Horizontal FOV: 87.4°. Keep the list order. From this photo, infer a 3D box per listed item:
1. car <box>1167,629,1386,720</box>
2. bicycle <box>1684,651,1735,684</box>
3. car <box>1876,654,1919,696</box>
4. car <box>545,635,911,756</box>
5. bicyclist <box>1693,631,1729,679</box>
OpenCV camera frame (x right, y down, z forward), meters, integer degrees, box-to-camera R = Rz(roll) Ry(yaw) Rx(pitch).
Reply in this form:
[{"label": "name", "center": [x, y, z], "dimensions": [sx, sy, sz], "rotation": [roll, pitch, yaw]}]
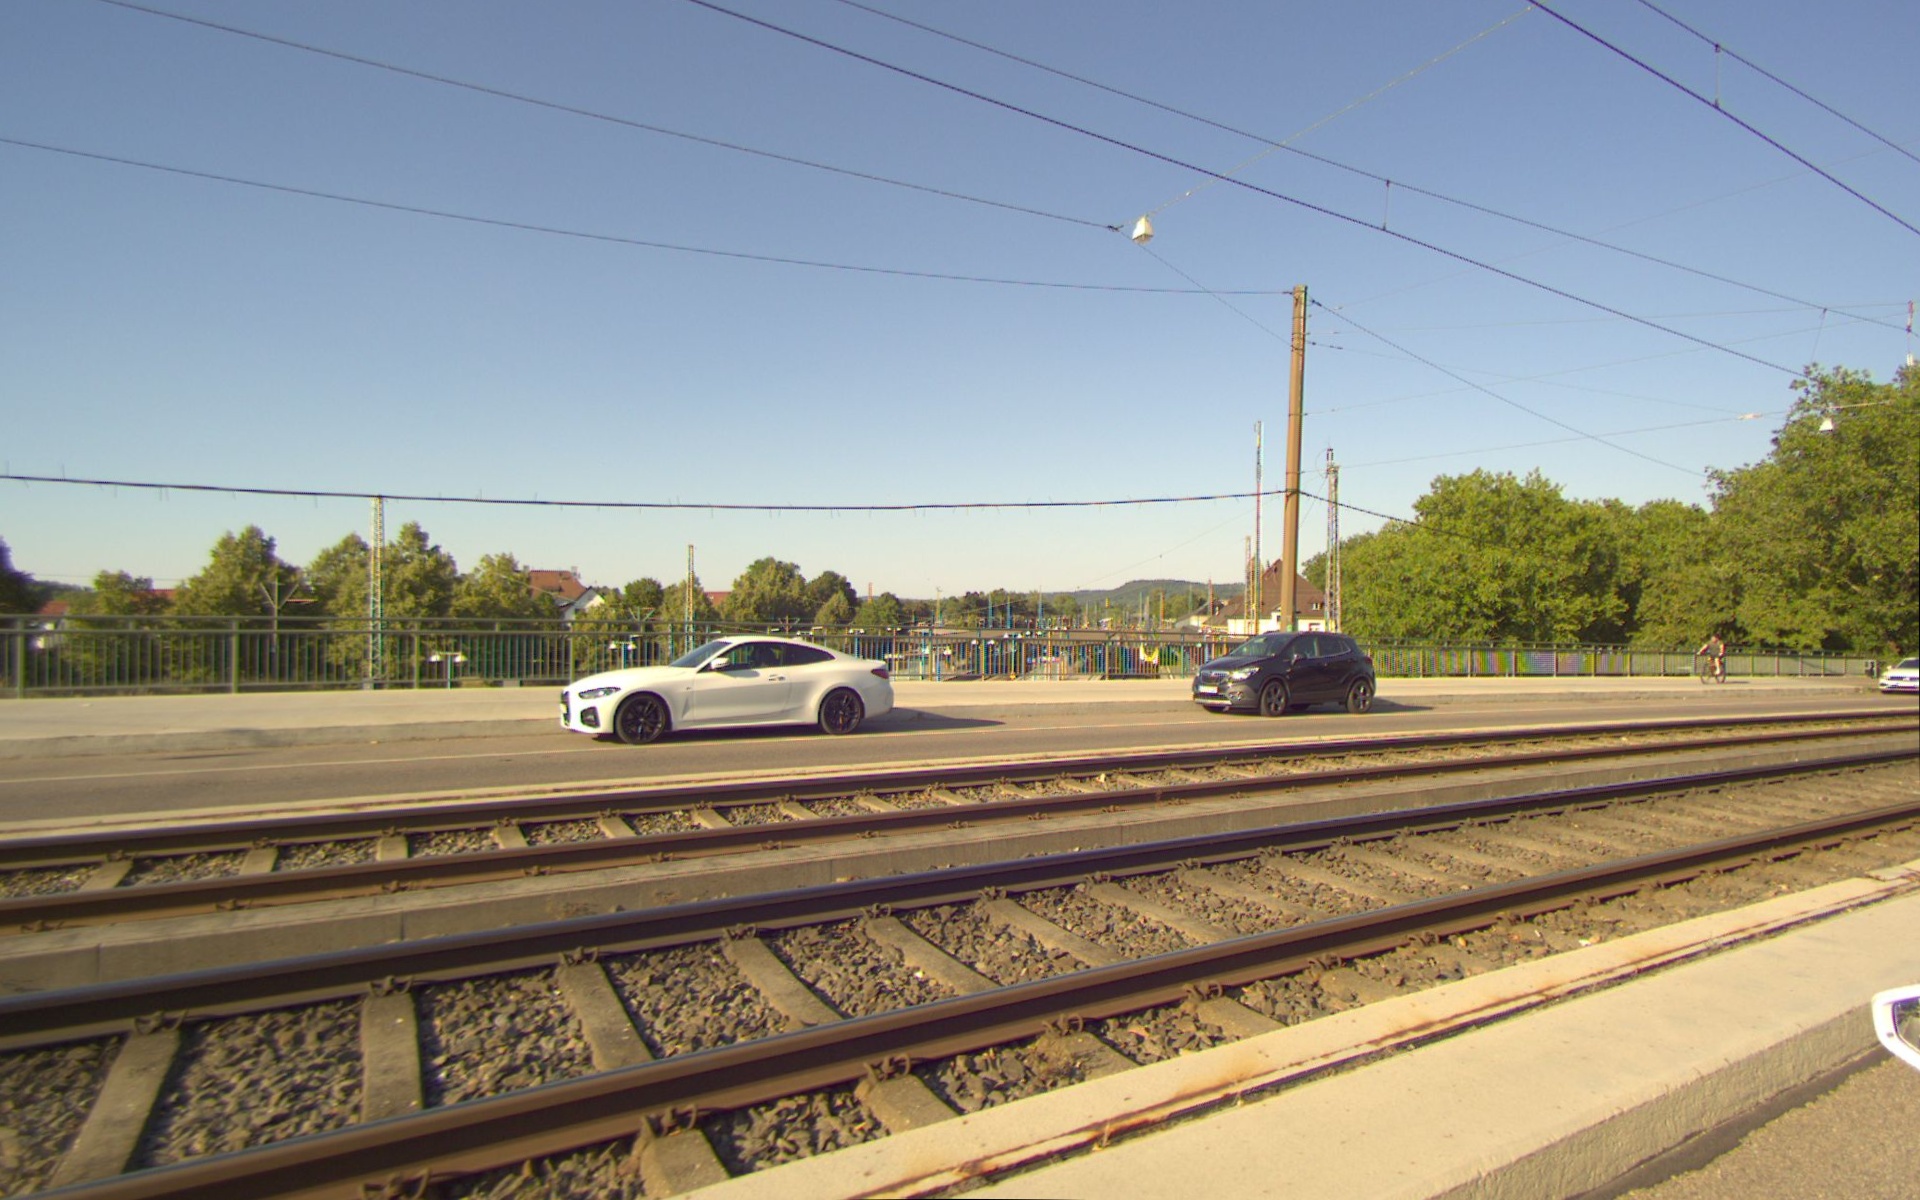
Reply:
[{"label": "car", "center": [6.454, 1.464, 20.371], "dimensions": [4.395, 1.672, 1.771], "rotation": [1, -4, -31]}, {"label": "bicycle", "center": [27.043, 2.421, 36.245], "dimensions": [2.075, 1.112, 0.676], "rotation": [2, 1, -30]}, {"label": "car", "center": [37.476, 2.860, 38.883], "dimensions": [4.900, 1.483, 1.732], "rotation": [2, -1, -32]}, {"label": "car", "center": [-3.223, 1.245, 14.387], "dimensions": [4.863, 1.374, 1.675], "rotation": [0, 0, -31]}, {"label": "bicyclist", "center": [27.123, 1.976, 36.280], "dimensions": [0.879, 1.648, 0.676], "rotation": [1, 1, -30]}]
